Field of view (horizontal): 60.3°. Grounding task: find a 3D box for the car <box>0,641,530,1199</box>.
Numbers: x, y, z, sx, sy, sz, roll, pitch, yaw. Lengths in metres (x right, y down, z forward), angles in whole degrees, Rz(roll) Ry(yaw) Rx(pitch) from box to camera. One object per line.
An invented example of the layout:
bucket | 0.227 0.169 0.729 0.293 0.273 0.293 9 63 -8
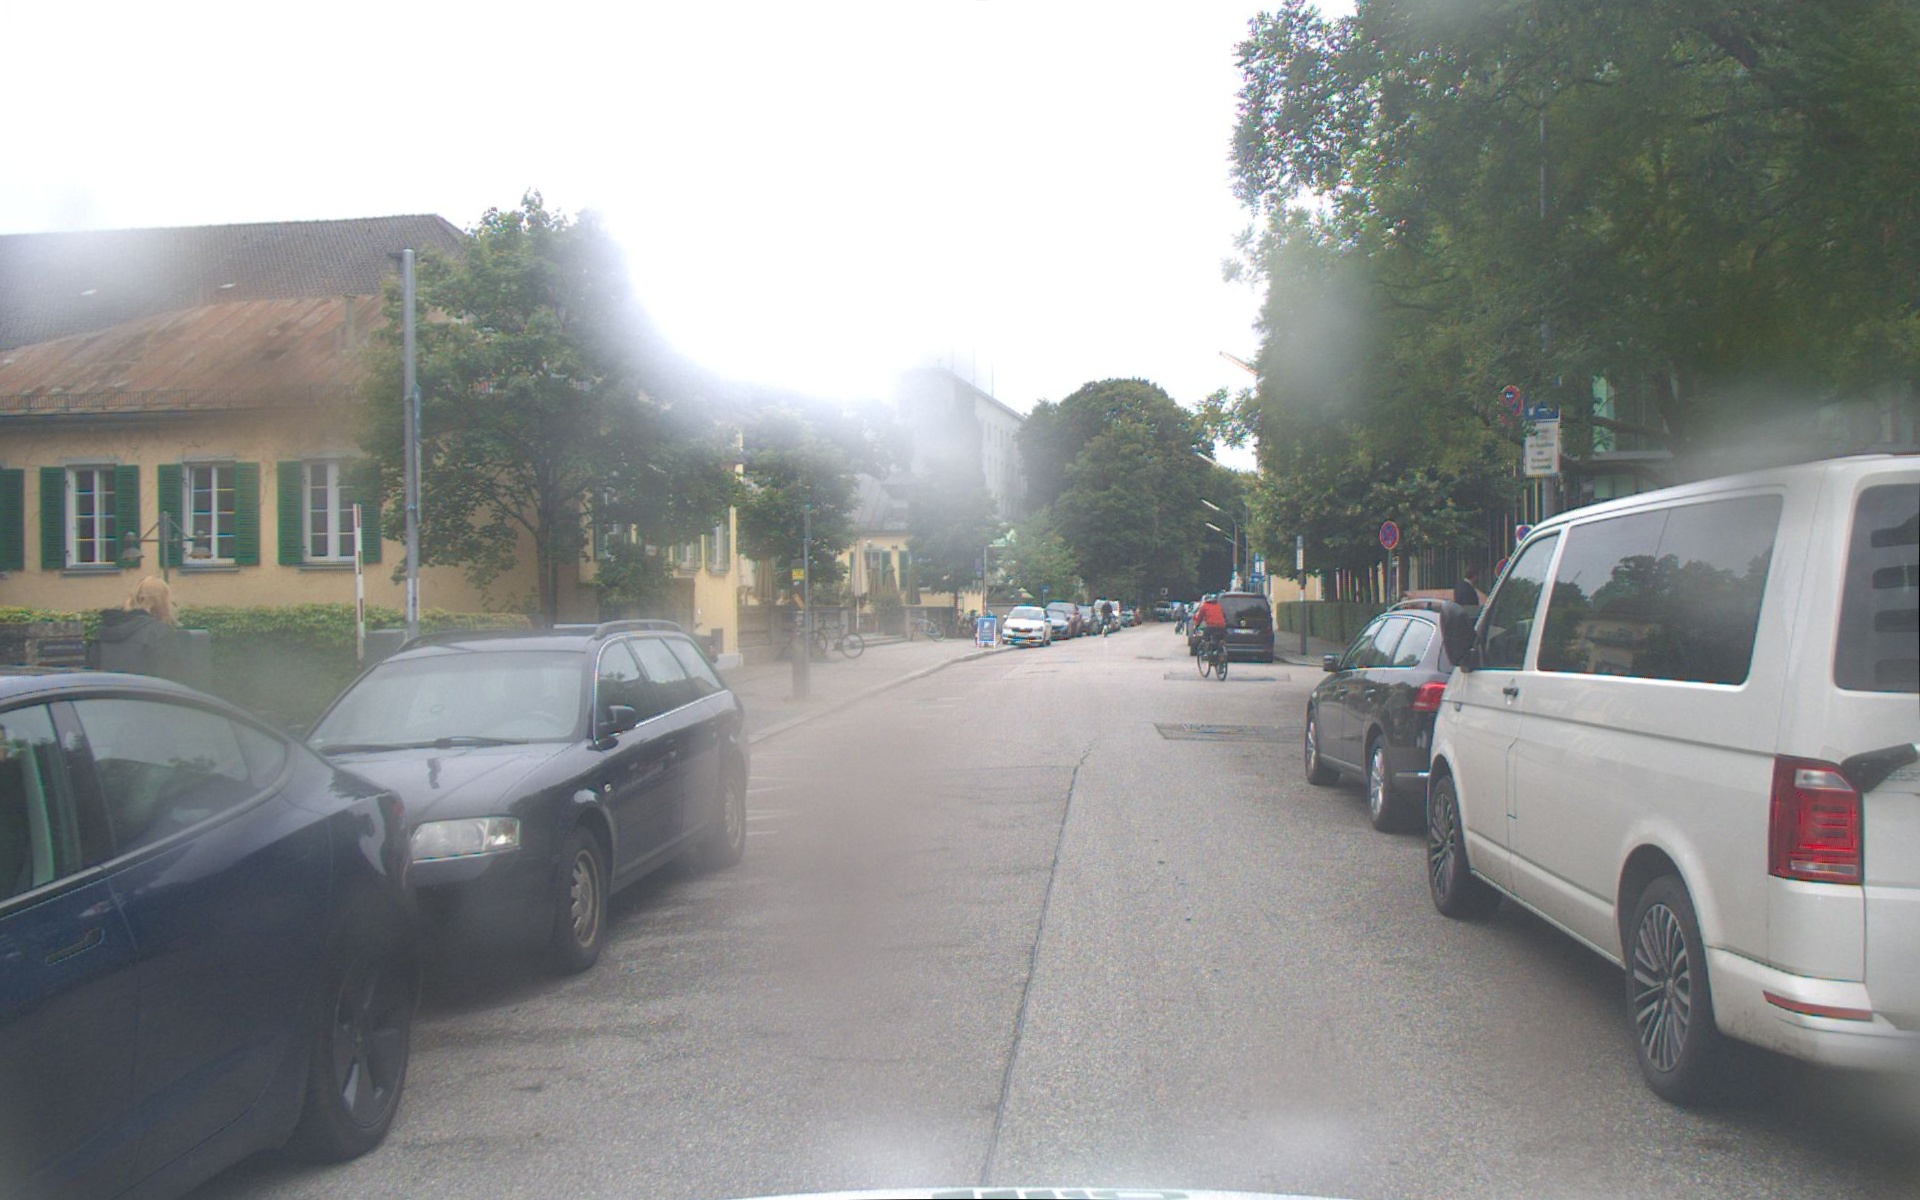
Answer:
car | -2.646 0.893 3.490 1.882 1.464 4.920 -3 -1 3

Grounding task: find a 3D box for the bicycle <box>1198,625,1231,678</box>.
bicycle | 5.066 1.020 33.010 0.608 1.022 2.141 -1 -2 8

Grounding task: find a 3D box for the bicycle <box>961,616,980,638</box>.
bicycle | 0.489 1.243 76.476 0.608 1.022 1.620 0 -2 11

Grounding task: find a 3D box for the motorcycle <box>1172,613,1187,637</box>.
motorcycle | 11.516 1.325 86.834 0.646 1.227 2.244 -1 0 10

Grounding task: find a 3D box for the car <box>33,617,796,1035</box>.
car | -2.351 0.899 8.749 1.951 1.517 4.886 -2 0 6

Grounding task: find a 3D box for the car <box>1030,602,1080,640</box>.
car | 4.443 0.950 76.985 1.951 1.677 4.659 -1 0 8

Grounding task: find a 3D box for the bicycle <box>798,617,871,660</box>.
bicycle | -3.453 1.049 45.561 1.889 1.118 0.615 1 0 8

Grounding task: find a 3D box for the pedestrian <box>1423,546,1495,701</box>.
pedestrian | 7.183 0.330 23.842 0.727 2.172 1.056 -1 -1 4

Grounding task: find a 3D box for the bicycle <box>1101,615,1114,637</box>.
bicycle | 7.229 1.276 81.108 0.608 1.022 2.141 -1 0 4

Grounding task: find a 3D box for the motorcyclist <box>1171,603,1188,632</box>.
motorcyclist | 11.539 0.924 86.888 0.775 1.536 1.149 -1 -1 10

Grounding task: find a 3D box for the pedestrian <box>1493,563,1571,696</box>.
pedestrian | 8.571 0.434 24.784 0.731 1.941 1.050 -2 -1 40

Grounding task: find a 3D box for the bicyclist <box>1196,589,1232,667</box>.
bicyclist | 5.050 0.566 32.942 0.657 1.524 1.095 -1 -2 8

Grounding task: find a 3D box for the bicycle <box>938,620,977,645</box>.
bicycle | -0.093 1.399 70.989 1.596 1.022 0.617 0 -2 -30

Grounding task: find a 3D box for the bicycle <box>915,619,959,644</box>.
bicycle | -0.906 1.232 64.584 1.589 0.942 0.648 0 -2 -20

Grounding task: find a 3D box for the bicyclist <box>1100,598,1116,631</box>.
bicyclist | 7.254 0.723 81.187 0.727 1.603 0.978 -1 0 5

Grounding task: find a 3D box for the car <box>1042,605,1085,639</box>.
car | 5.158 1.102 81.939 1.951 1.631 4.002 0 -1 6

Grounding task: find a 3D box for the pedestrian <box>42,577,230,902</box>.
pedestrian | -4.766 0.767 9.624 0.739 1.780 0.950 0 -1 -11

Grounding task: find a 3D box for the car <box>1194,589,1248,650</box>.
car | 8.820 0.637 56.006 1.712 1.977 4.231 -1 0 9

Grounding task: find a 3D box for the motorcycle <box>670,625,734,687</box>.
motorcycle | -4.952 1.052 31.646 0.551 1.120 1.819 1 0 -31

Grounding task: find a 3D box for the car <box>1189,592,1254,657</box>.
car | 7.848 0.708 49.859 1.823 1.825 4.513 -1 0 8

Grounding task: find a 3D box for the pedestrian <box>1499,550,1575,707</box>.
pedestrian | 8.222 0.403 23.596 0.727 2.172 1.056 -1 -1 4

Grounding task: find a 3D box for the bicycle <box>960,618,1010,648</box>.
bicycle | 0.914 1.191 60.122 0.612 1.021 2.130 2 0 38

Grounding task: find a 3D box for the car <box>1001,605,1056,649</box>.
car | 2.693 1.033 64.495 1.697 1.609 3.790 2 0 8

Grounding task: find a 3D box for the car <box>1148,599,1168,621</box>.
car | 20.112 0.954 167.983 1.951 2.135 4.003 2 0 7

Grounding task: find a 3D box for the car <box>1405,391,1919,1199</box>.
car | 3.203 0.534 6.436 1.806 1.967 5.275 2 0 4

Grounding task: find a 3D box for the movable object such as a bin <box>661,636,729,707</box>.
movable object such as a bin | -4.262 1.142 26.622 0.915 1.082 0.841 -1 0 2

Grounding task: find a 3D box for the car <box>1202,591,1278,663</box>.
car | 7.579 0.693 45.035 1.723 1.855 4.141 0 0 5

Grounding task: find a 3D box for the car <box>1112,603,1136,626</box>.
car | 12.979 1.129 130.741 1.772 1.712 4.003 -1 0 7

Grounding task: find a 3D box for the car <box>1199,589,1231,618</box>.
car | 18.215 0.250 118.323 1.951 2.096 4.627 0 0 6

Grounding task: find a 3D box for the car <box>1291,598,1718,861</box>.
car | 3.756 0.775 12.395 1.734 1.516 4.975 2 0 3
